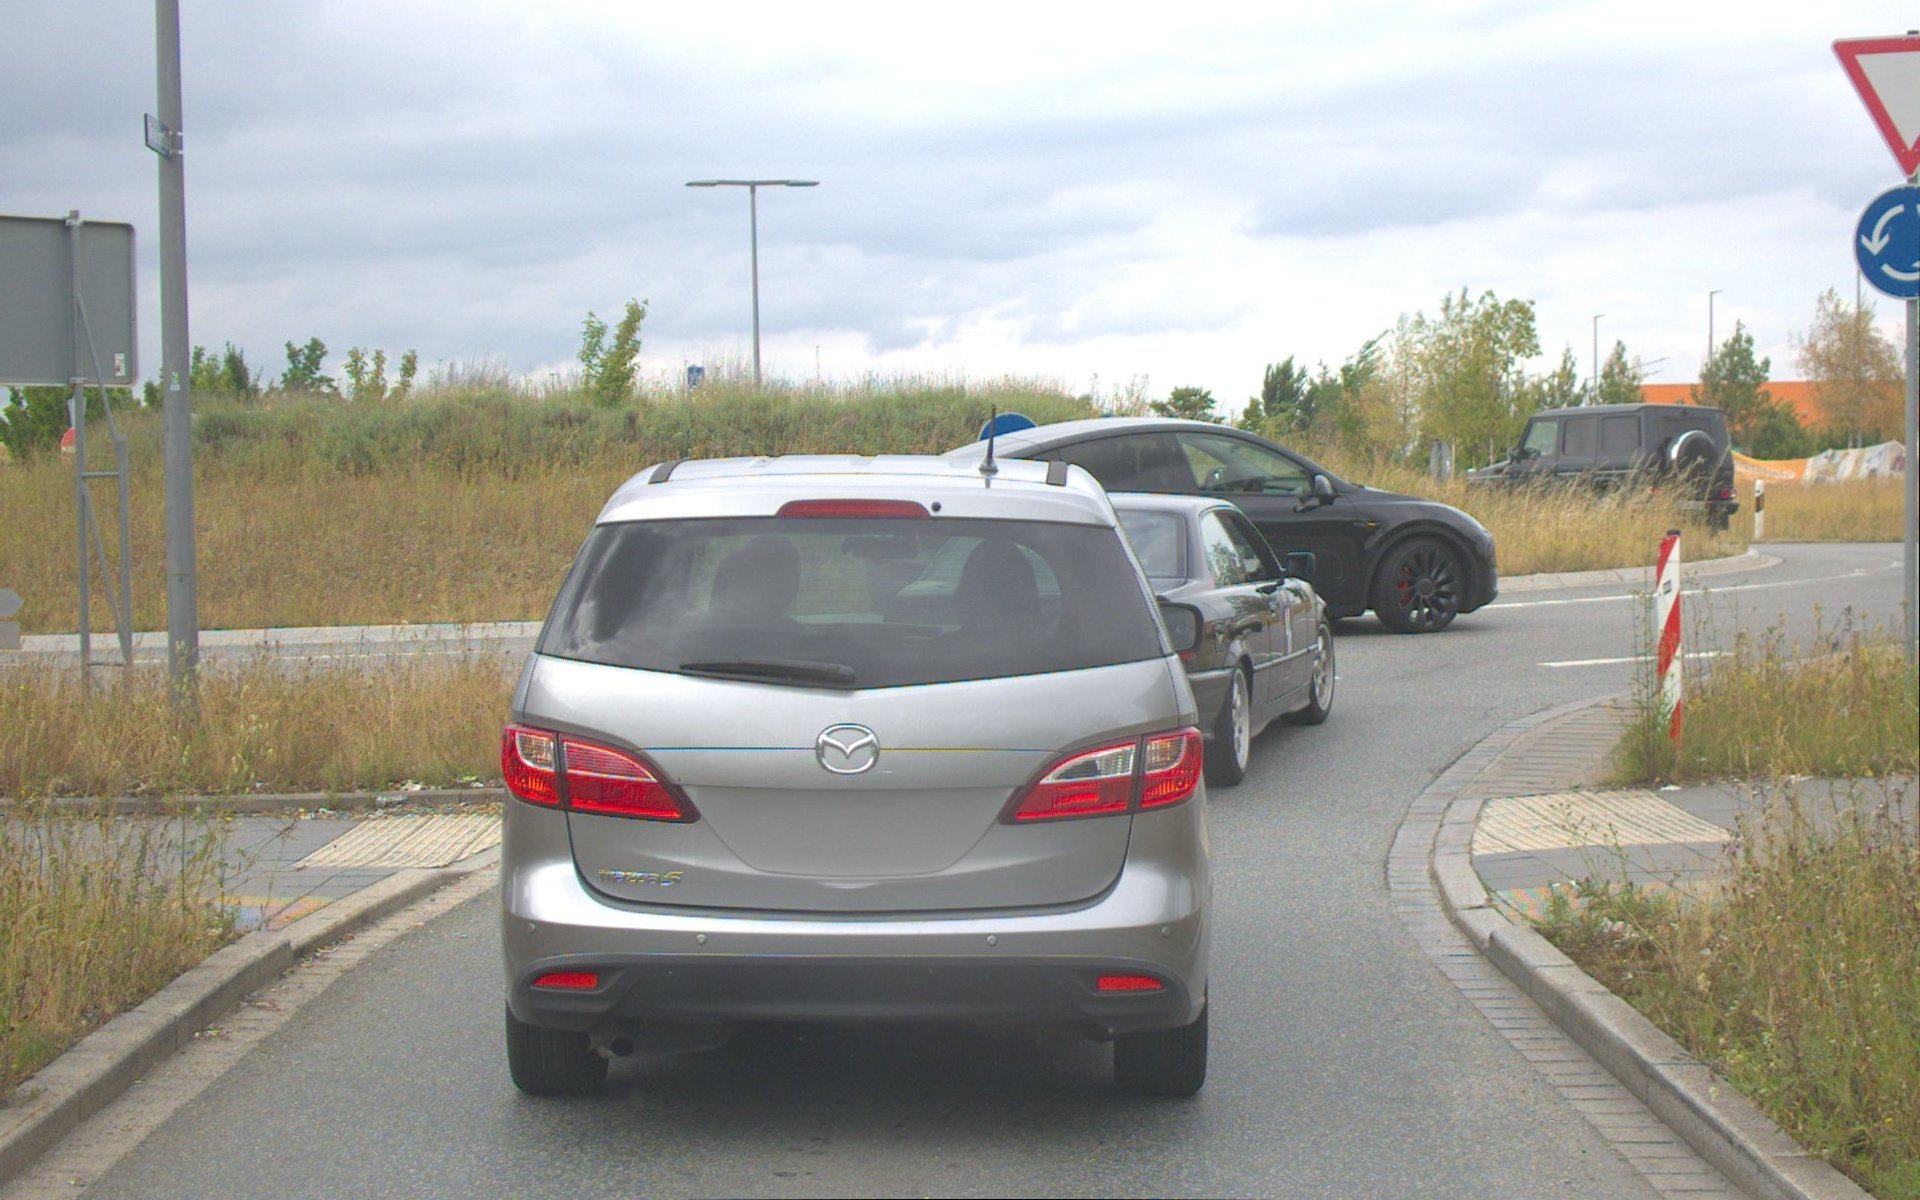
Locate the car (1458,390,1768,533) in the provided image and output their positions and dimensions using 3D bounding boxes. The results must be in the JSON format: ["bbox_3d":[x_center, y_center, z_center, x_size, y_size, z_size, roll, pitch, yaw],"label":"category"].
[{"bbox_3d":[9.264,-2.018,49.180,2.077,1.880,4.776,-3,4,-22],"label":"car"}]

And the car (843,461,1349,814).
[{"bbox_3d":[0.806,0.082,17.245,1.739,1.398,3.996,1,4,14],"label":"car"}]

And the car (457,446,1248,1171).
[{"bbox_3d":[-0.248,0.379,9.623,1.738,1.593,3.998,1,2,0],"label":"car"}]

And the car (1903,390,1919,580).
[{"bbox_3d":[11.089,-1.171,32.133,4.761,1.732,1.944,-5,5,-38],"label":"car"}]

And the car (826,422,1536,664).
[{"bbox_3d":[1.598,-0.471,25.120,4.758,1.493,1.945,-3,4,-17],"label":"car"}]
